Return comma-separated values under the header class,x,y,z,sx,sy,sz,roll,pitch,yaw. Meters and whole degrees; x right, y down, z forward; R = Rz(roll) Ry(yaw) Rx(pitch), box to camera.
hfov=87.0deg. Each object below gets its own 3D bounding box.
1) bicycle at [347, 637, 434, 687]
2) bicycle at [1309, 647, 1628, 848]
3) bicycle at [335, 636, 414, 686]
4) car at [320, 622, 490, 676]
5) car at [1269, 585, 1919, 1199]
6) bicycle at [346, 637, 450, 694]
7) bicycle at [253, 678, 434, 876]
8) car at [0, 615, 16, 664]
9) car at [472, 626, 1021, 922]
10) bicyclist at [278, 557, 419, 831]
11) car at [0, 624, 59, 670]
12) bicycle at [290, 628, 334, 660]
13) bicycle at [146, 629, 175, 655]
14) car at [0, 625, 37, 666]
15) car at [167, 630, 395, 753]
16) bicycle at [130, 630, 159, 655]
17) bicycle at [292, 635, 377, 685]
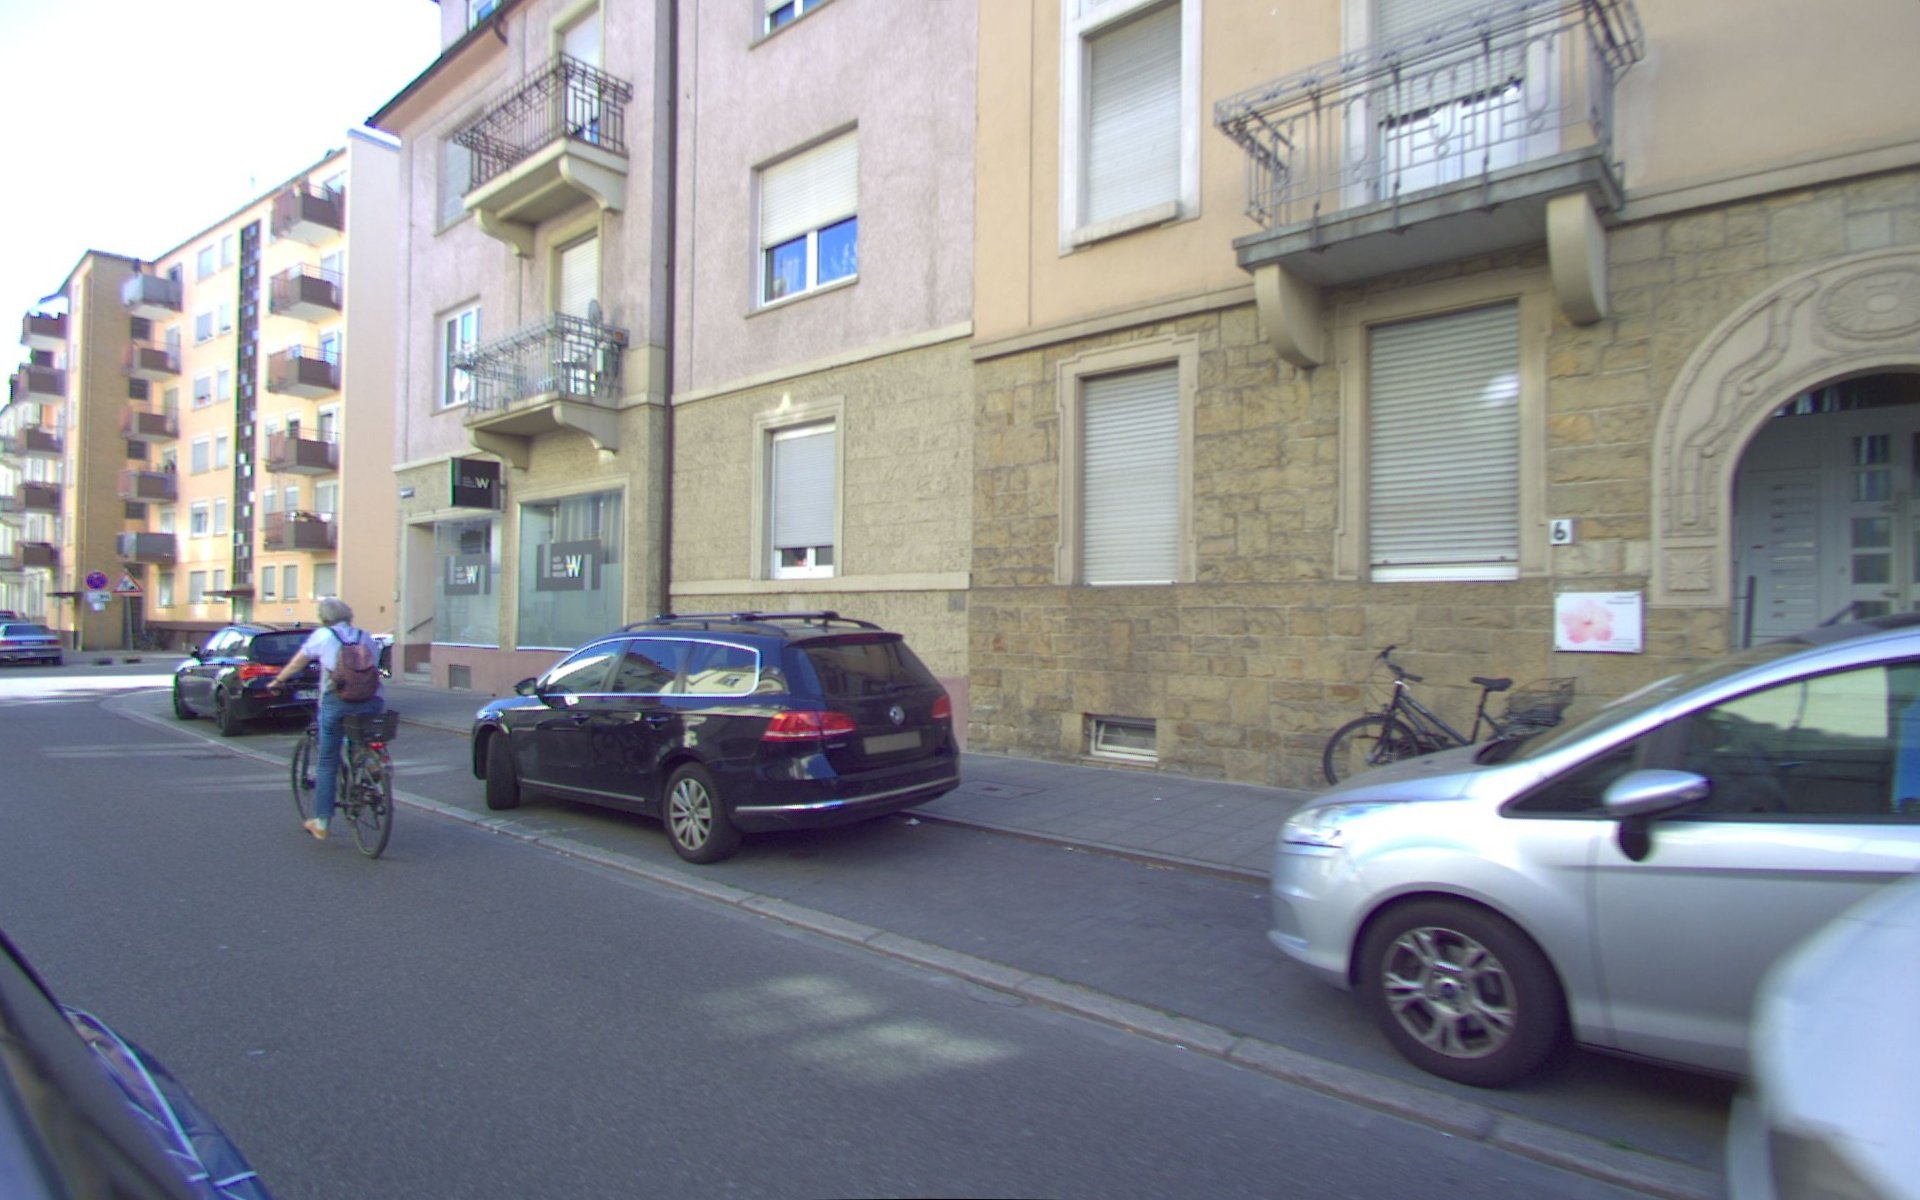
class,x,y,z,sx,sy,sz,roll,pitch,yaw
bicycle,-13.750,1.478,24.480,0.434,1.156,1.841,-1,-3,30
bicycle,3.472,0.938,7.032,1.852,1.181,0.691,-2,-2,43
bicycle,-14.246,1.470,24.670,0.433,1.156,1.648,-1,-3,29
car,-17.499,1.531,32.112,1.776,1.572,4.404,-1,-3,34
car,3.078,0.754,3.090,3.720,1.550,1.697,-2,-3,40
bicycle,-11.940,1.370,21.535,0.694,1.144,1.787,-2,-3,38
bicycle,-4.136,1.094,6.729,1.800,1.084,0.534,-2,-3,43
car,-38.885,1.545,40.048,4.109,1.892,1.798,-2,-3,42
car,-1.710,0.973,7.264,4.107,1.533,1.697,-1,-3,41
bicyclist,-4.012,0.587,6.642,0.632,1.678,0.601,-2,-3,42
car,-30.782,1.512,33.007,3.499,1.433,1.656,-2,-3,42
bicycle,-22.866,1.537,35.711,1.802,1.116,0.680,-1,-3,35
bicycle,-35.514,1.850,44.950,1.802,1.116,0.488,-1,-3,35
car,-34.496,1.610,36.311,3.284,1.433,1.656,-2,-3,42
car,-9.473,1.152,14.007,3.863,1.397,1.696,-2,0,42
bicycle,-35.861,1.863,44.497,1.802,1.116,0.488,-1,-3,35
bicycle,-15.218,1.446,24.652,0.592,1.156,1.644,-1,-3,35
